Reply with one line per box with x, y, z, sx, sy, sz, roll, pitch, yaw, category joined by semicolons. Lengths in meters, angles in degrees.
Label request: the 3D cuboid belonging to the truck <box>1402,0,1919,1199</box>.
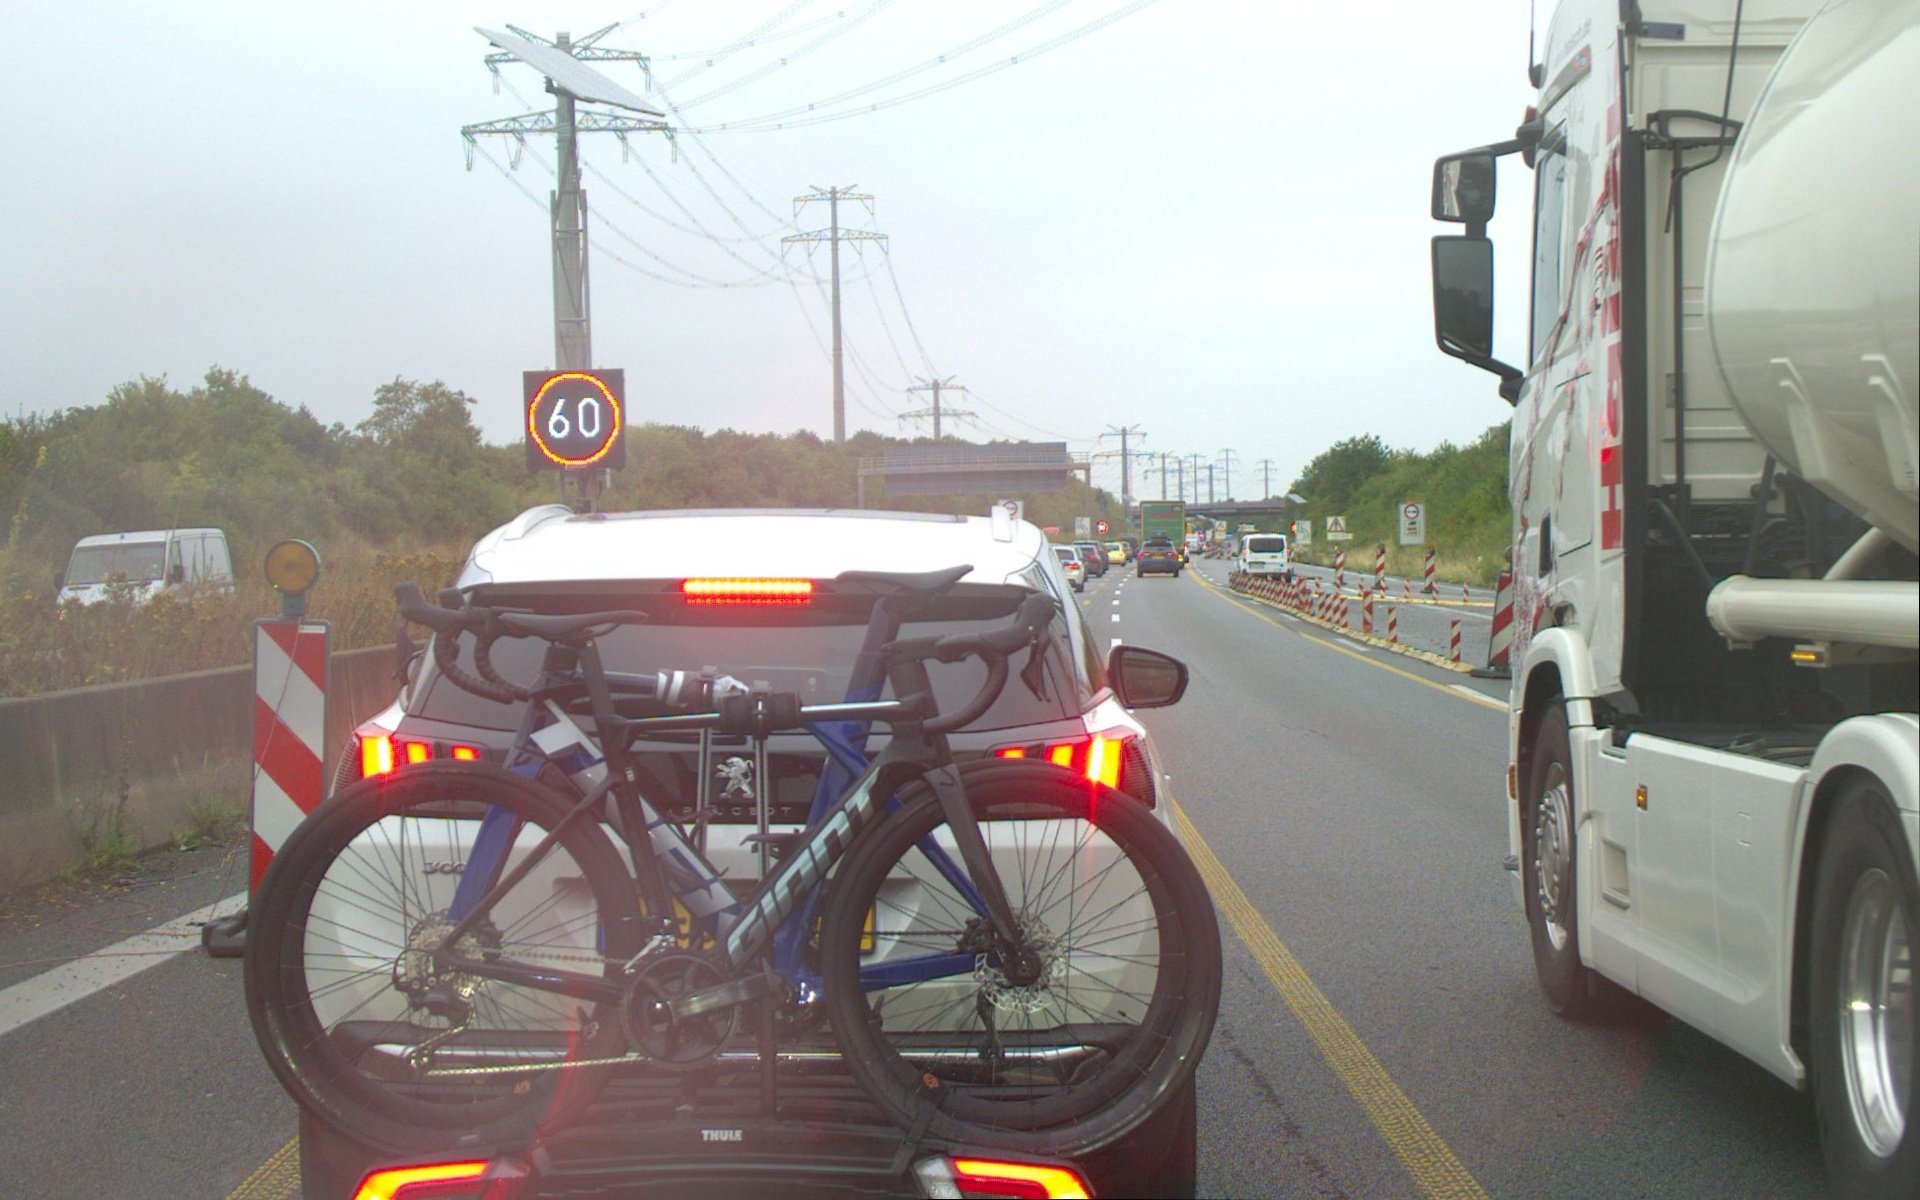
2.935;-0.453;10.157;2.644;3.877;4.030;1;0;-1;truck

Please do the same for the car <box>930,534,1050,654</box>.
0.489;-0.117;60.095;1.993;2.007;4.000;1;0;-1;car

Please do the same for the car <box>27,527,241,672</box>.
-14.975;-0.069;62.707;2.240;2.432;5.883;-1;1;2;car

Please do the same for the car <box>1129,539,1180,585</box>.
8.616;-1.667;152.519;1.993;2.007;4.000;1;0;-1;car

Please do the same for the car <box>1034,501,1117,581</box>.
3.104;-1.564;93.200;1.993;2.007;4.000;-1;-1;-1;car

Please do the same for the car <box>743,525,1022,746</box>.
-0.581;0.213;26.614;1.993;1.578;4.000;0;1;-1;car

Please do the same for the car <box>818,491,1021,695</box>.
-0.426;-0.106;36.705;1.993;2.007;4.000;-1;1;-1;car

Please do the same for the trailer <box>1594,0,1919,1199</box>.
3.036;-0.408;3.557;2.637;3.880;10.544;1;0;-1;trailer

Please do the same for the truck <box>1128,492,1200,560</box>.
11.951;-4.381;202.110;3.732;3.809;11.869;1;2;1;truck

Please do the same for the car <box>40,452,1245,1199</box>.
-0.447;0.529;7.798;1.928;1.605;4.595;0;1;2;car

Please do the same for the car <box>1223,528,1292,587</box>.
10.540;-1.534;122.083;1.993;2.007;4.000;-1;1;-1;car

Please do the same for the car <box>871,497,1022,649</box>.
-0.196;-0.400;48.012;1.993;2.007;4.000;-1;1;0;car

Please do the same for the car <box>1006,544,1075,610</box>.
2.489;-0.720;106.809;1.993;2.007;4.000;1;0;-1;car

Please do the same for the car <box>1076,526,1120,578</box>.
5.410;-1.869;134.500;1.654;2.007;4.000;0;1;3;car
